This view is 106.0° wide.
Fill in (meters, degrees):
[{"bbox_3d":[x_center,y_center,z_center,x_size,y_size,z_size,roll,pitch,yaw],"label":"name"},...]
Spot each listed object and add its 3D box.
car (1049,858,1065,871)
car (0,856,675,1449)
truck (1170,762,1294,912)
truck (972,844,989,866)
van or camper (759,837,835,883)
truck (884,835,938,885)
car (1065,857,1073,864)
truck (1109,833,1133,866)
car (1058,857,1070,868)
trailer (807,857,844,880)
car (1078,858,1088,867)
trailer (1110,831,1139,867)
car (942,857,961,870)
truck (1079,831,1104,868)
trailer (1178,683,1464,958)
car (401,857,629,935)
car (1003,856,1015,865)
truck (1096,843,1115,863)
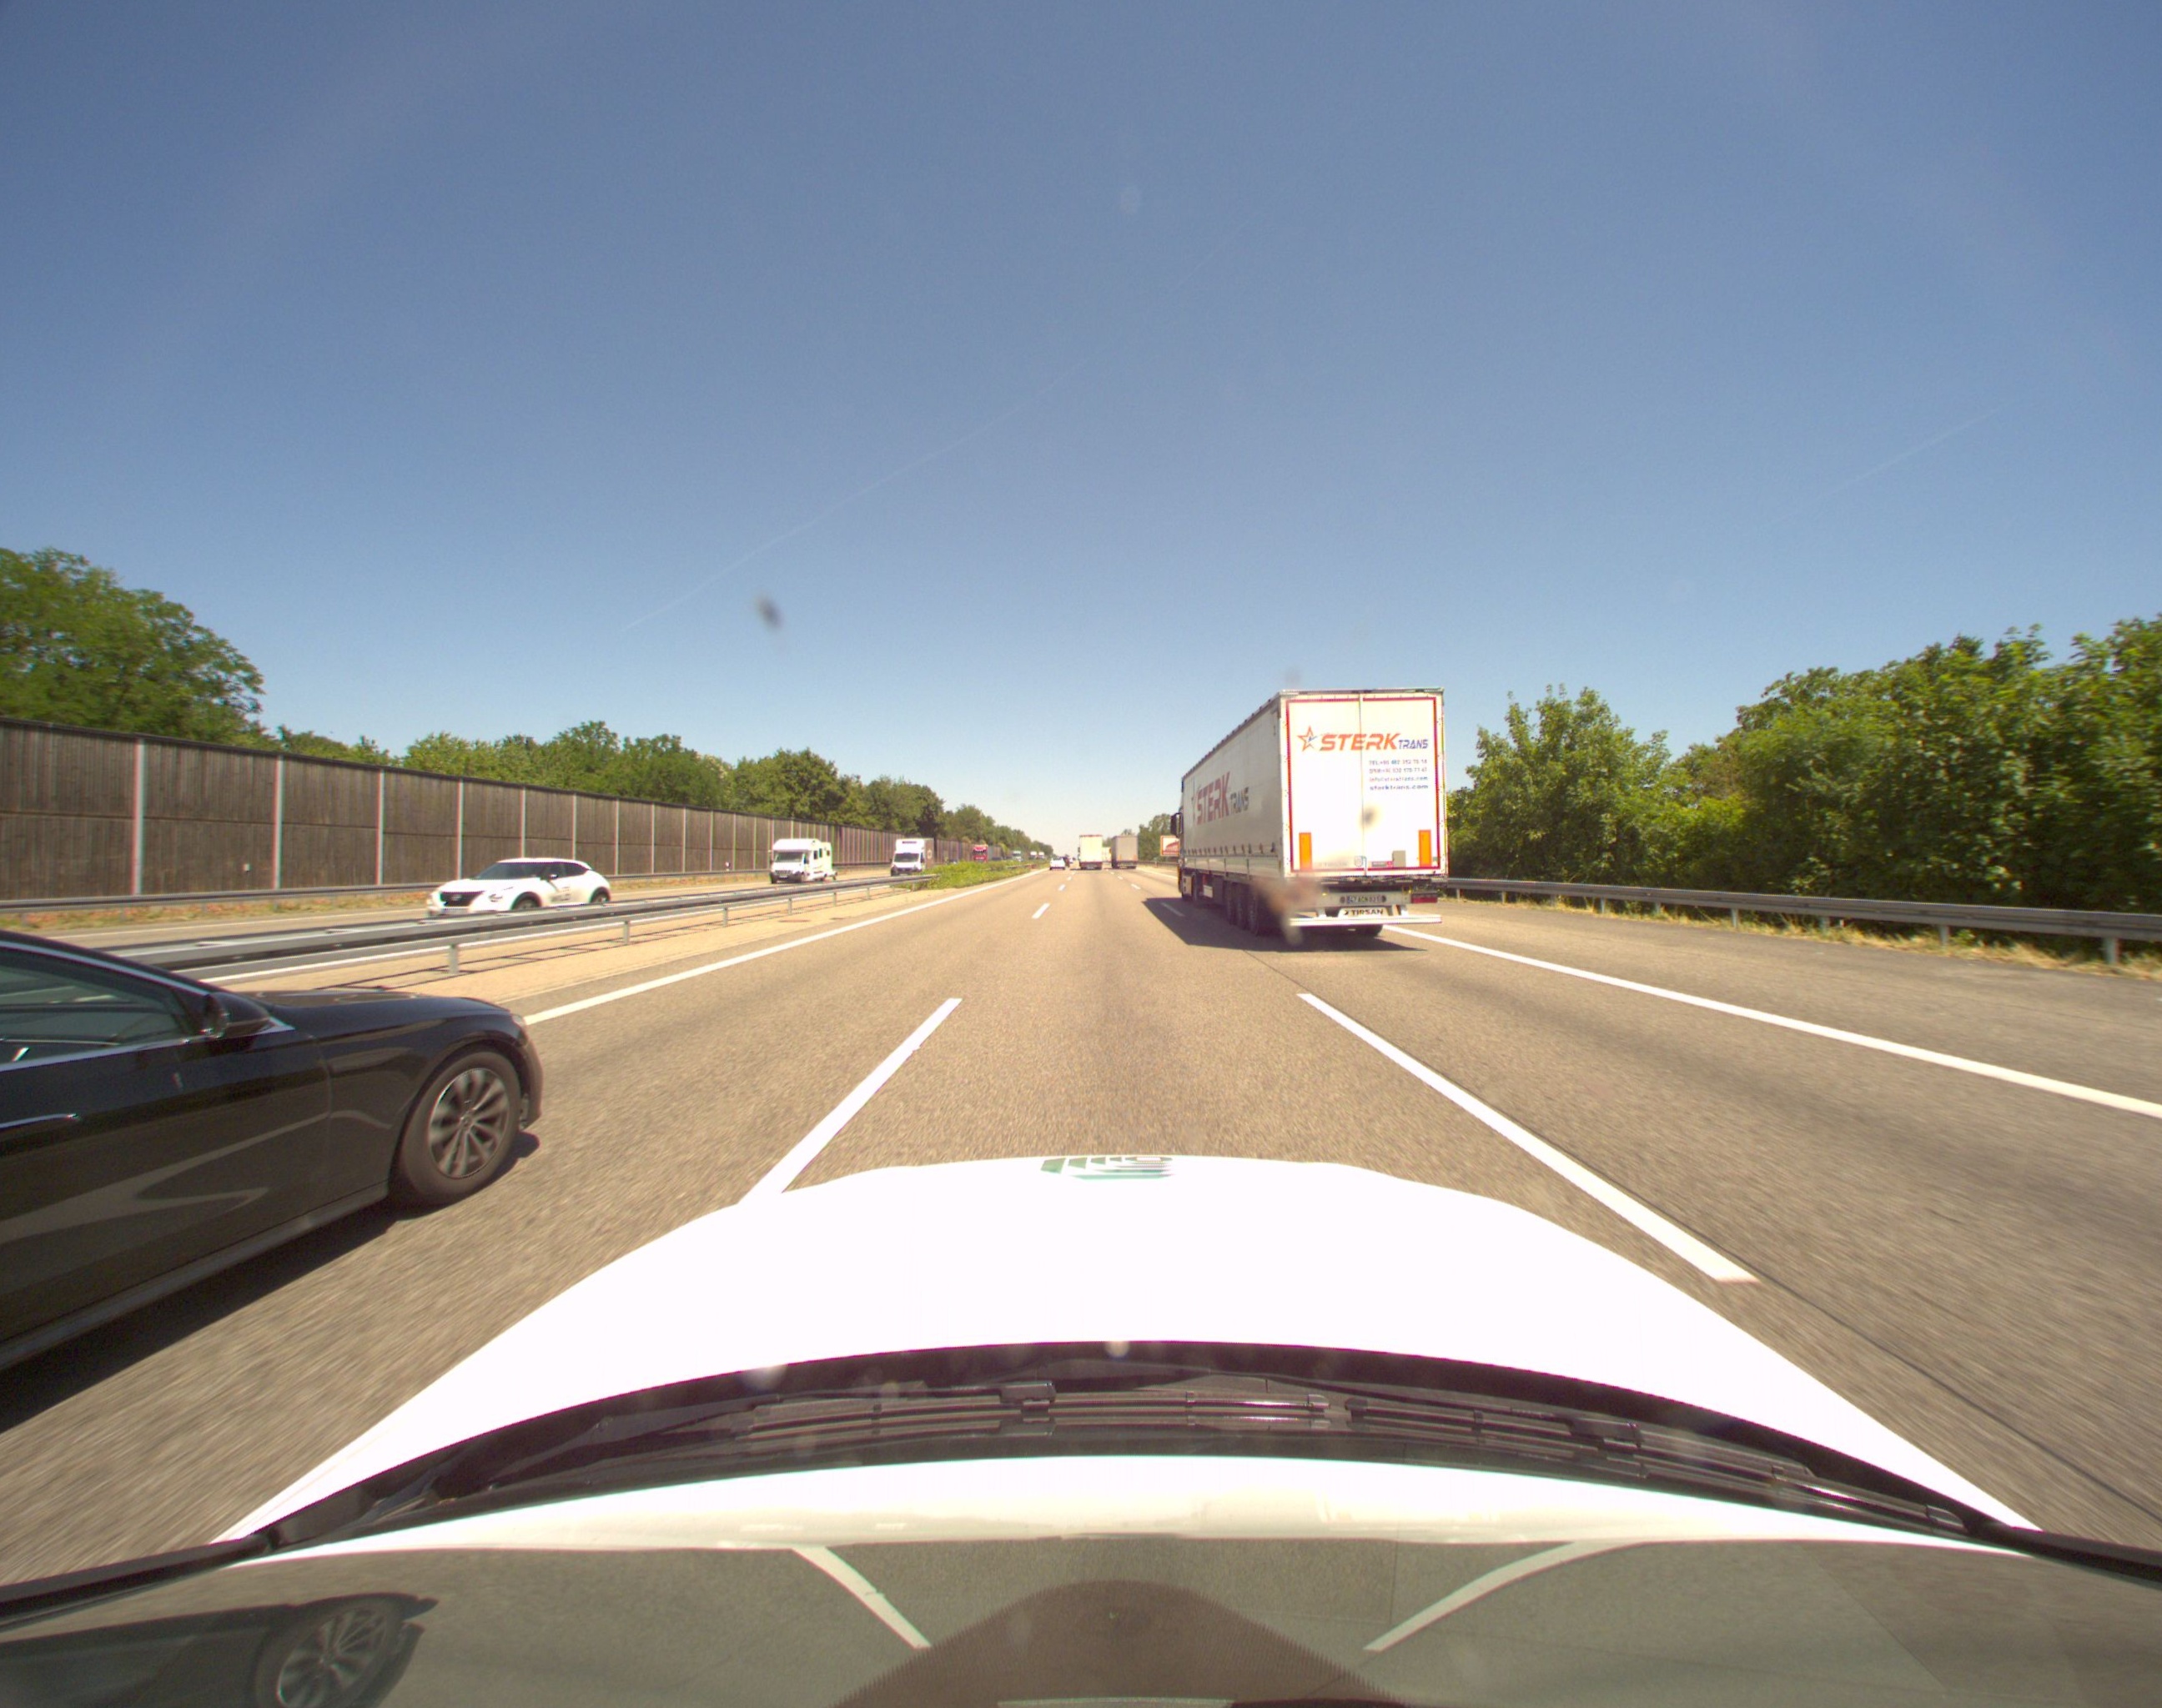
[{"bbox_3d":[-2.803,1.196,97.388,1.850,1.486,3.997,-1,0,-2],"label":"car"},{"bbox_3d":[-3.730,0.780,2.531,1.937,1.506,5.821,-1,0,1],"label":"car"},{"bbox_3d":[4.529,-0.463,25.866,2.698,4.088,6.964,-1,0,1],"label":"truck"},{"bbox_3d":[-19.664,0.243,159.492,2.477,4.087,4.680,-1,0,2],"label":"truck"},{"bbox_3d":[-18.942,0.388,54.795,2.550,2.914,7.374,0,0,0],"label":"van or camper"},{"bbox_3d":[-12.146,0.400,58.793,2.402,3.352,6.919,-1,0,0],"label":"truck"},{"bbox_3d":[-2.964,1.621,204.250,1.851,1.617,3.995,-1,0,-3],"label":"car"},{"bbox_3d":[5.268,-0.577,108.362,2.683,4.215,7.834,0,0,-1],"label":"truck"},{"bbox_3d":[-2.606,1.338,126.230,1.850,1.617,3.998,-1,0,-1],"label":"car"},{"bbox_3d":[-18.801,1.050,60.043,1.721,1.578,3.091,0,0,0],"label":"trailer"},{"bbox_3d":[0.358,1.512,144.970,1.849,1.617,4.000,-1,0,0],"label":"car"},{"bbox_3d":[5.362,-0.605,102.164,2.695,4.216,13.205,0,0,-1],"label":"trailer"},{"bbox_3d":[-16.558,1.174,104.419,1.807,1.599,4.000,-1,0,0],"label":"car"},{"bbox_3d":[1.202,-0.459,98.685,2.699,4.086,13.467,0,0,-1],"label":"truck"},{"bbox_3d":[4.432,-0.482,19.240,2.698,4.088,14.151,-1,0,1],"label":"trailer"},{"bbox_3d":[-12.659,0.852,18.677,1.912,1.546,4.584,-1,0,2],"label":"car"},{"bbox_3d":[-15.730,1.469,177.947,1.987,1.816,5.219,-1,0,0],"label":"car"},{"bbox_3d":[5.565,-0.139,186.186,3.367,4.303,11.436,2,0,-3],"label":"truck"}]
